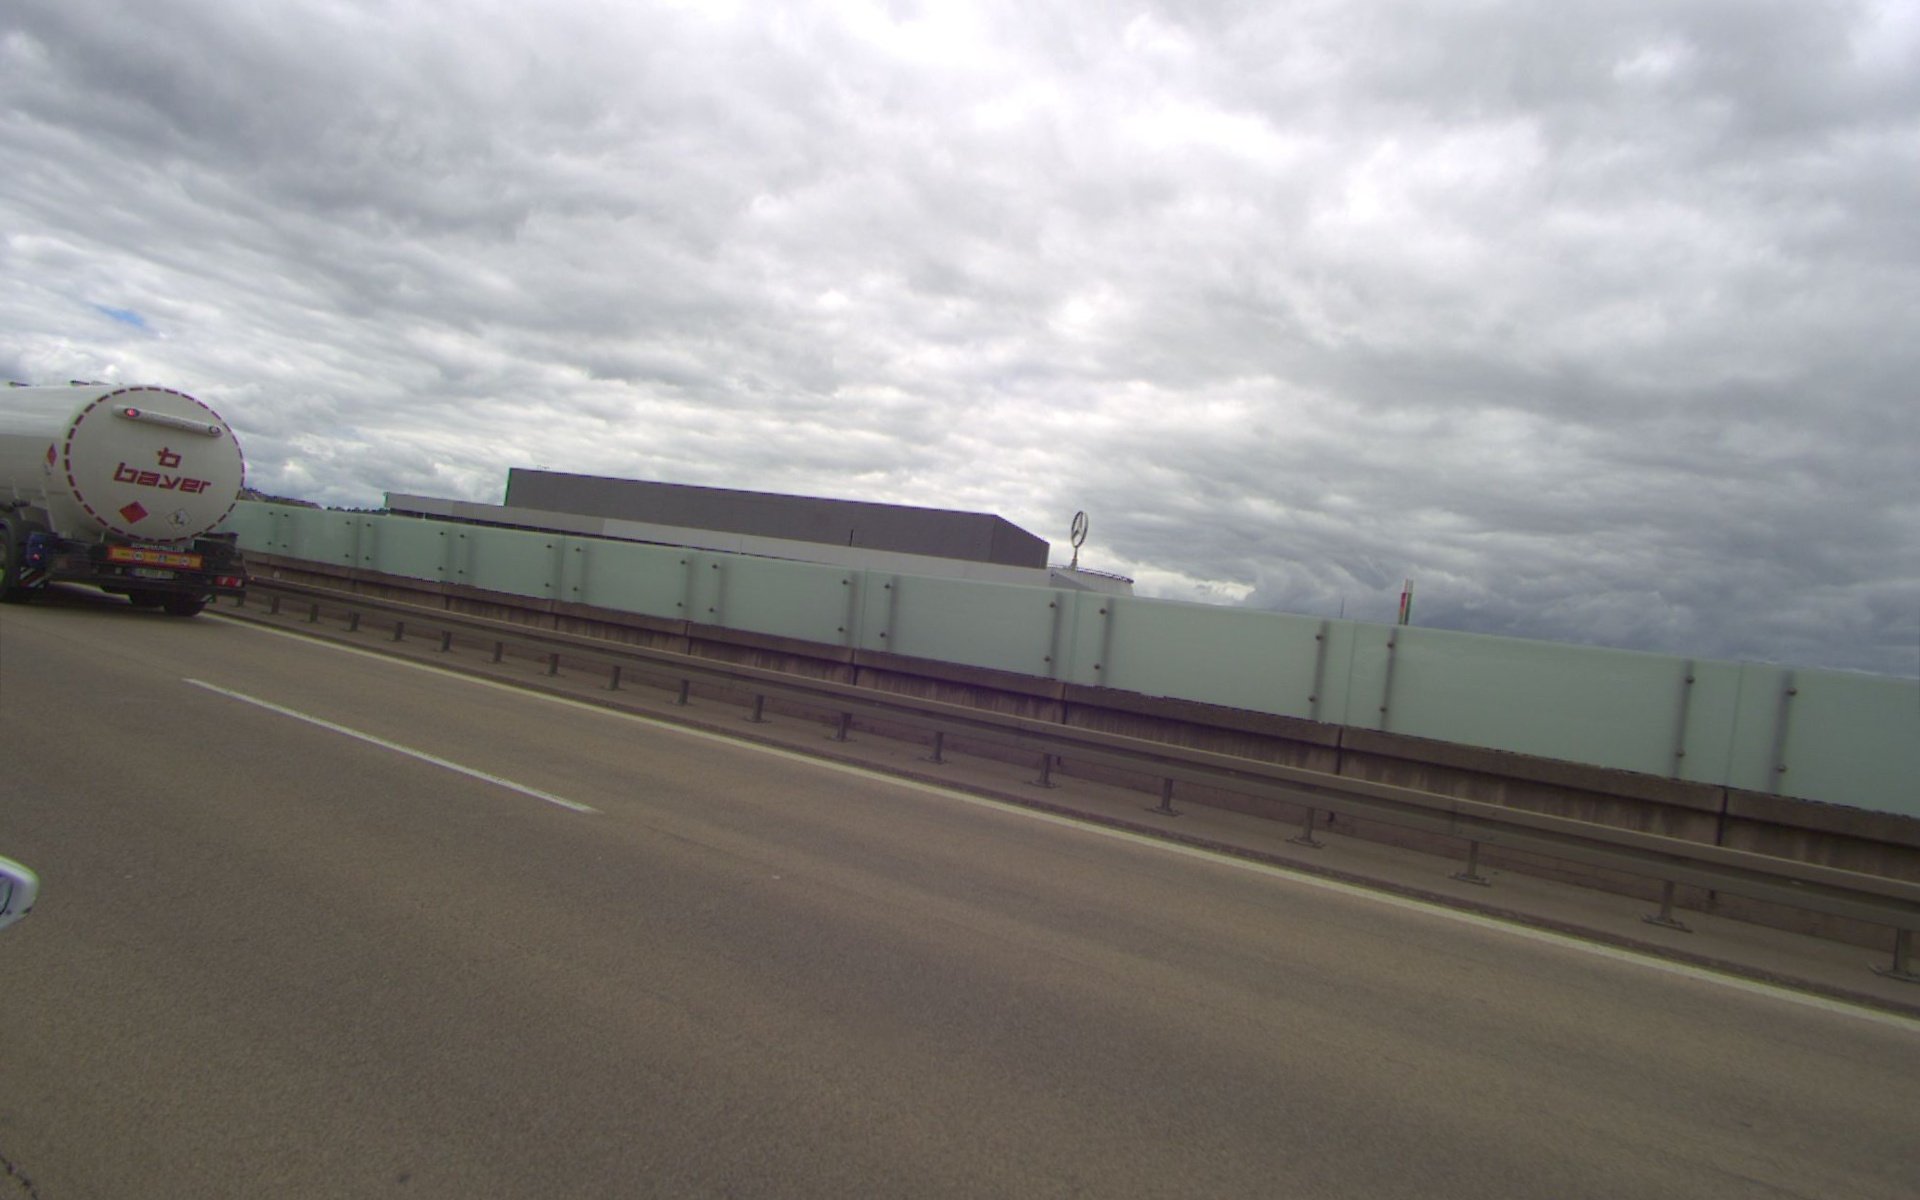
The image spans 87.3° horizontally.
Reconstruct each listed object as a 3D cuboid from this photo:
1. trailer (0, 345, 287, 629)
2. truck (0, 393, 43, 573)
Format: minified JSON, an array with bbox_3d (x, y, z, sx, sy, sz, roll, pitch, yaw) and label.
[{"bbox_3d":[-16.053,-2.009,17.337,11.032,3.584,2.656,7,-2,31],"label":"trailer"},{"bbox_3d":[-21.878,-2.706,20.874,4.822,3.555,2.636,7,-1,31],"label":"truck"}]
